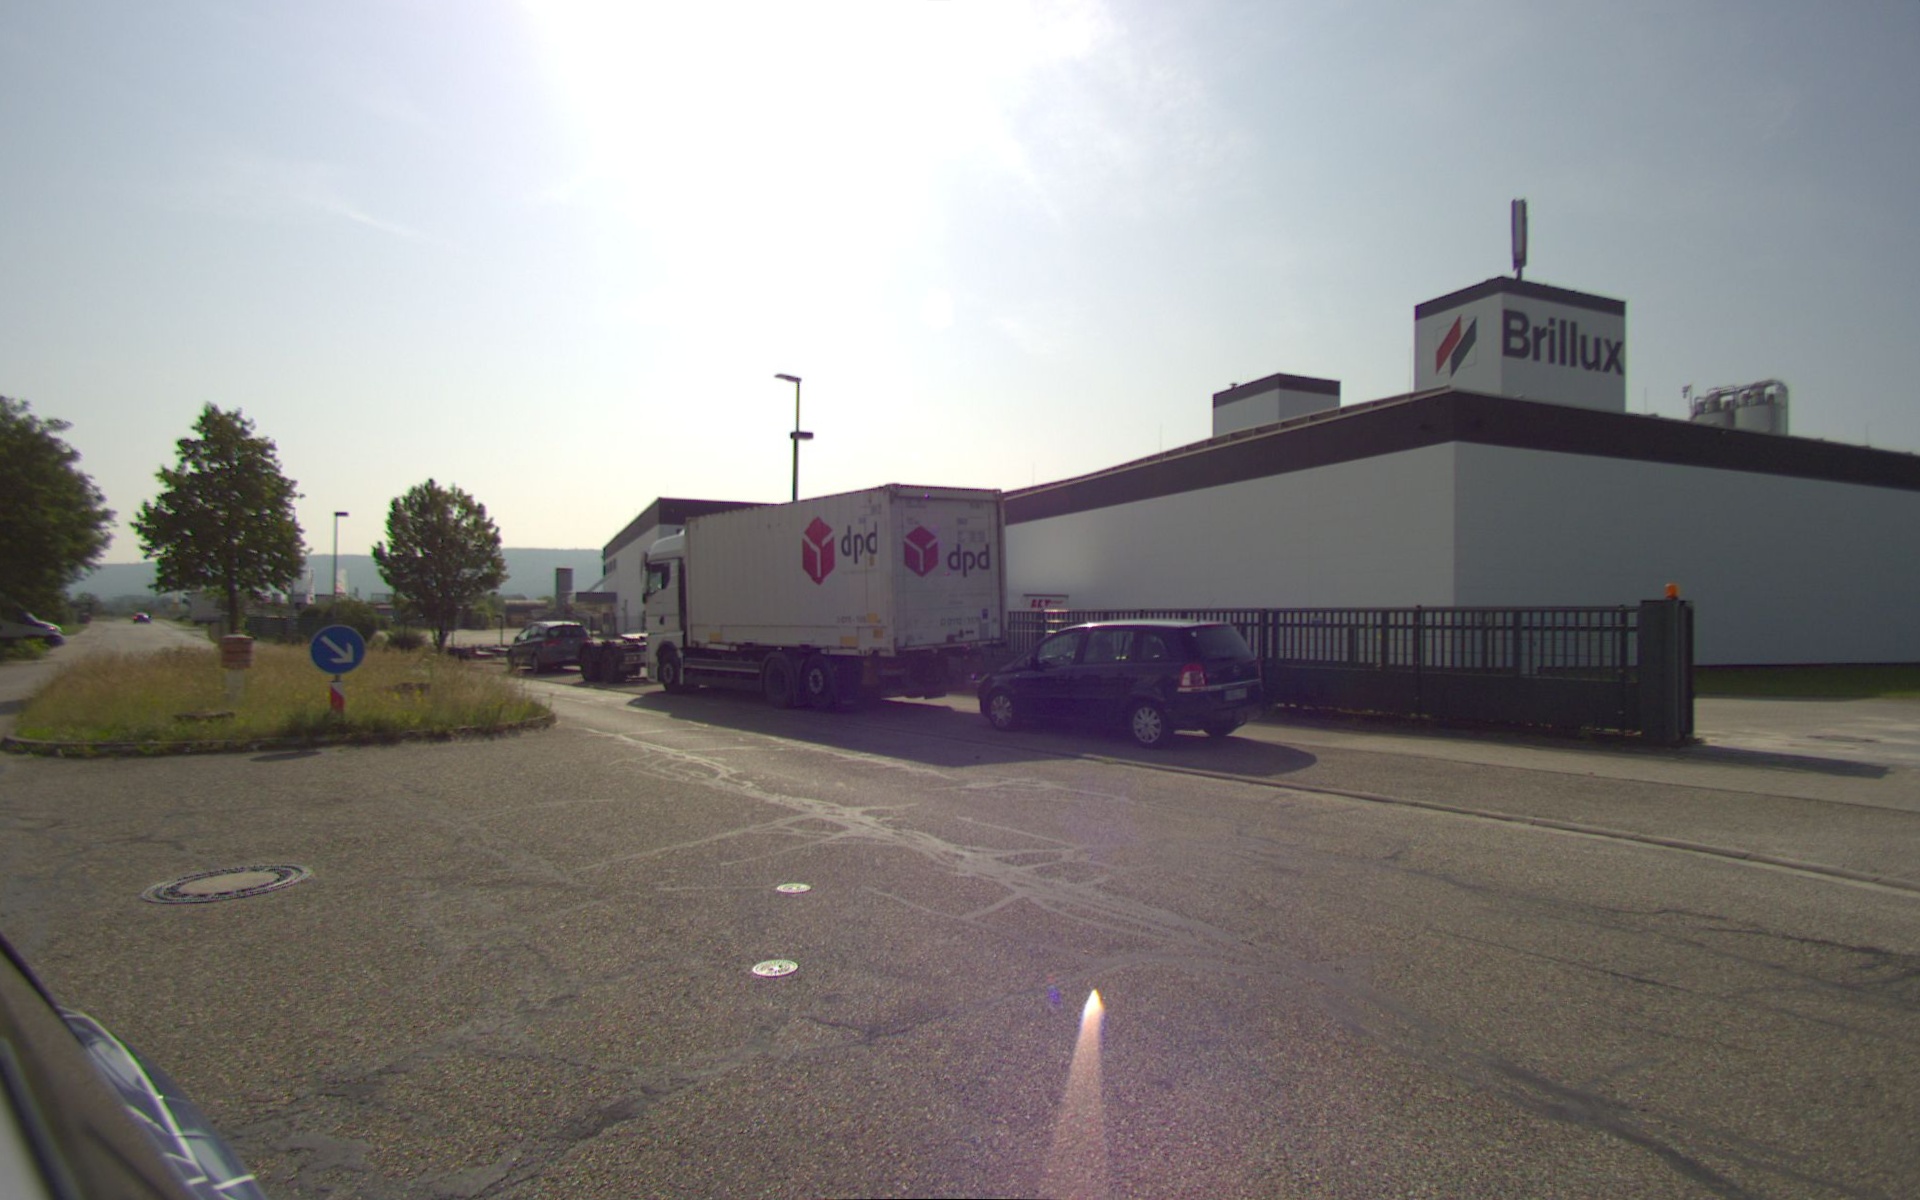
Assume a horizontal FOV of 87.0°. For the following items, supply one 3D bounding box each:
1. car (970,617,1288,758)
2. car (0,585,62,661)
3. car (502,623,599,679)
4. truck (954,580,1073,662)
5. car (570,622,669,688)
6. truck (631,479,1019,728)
[{"bbox_3d":[2.194,1.076,14.096,1.741,1.604,4.199,-1,0,-41],"label":"car"},{"bbox_3d":[-43.293,1.010,42.608,2.665,3.260,8.035,-1,0,44],"label":"car"},{"bbox_3d":[-13.081,1.567,32.208,1.709,1.594,3.973,-1,0,-40],"label":"car"},{"bbox_3d":[2.704,1.143,55.149,2.859,4.087,9.269,1,-1,-22],"label":"truck"},{"bbox_3d":[-9.172,1.420,27.170,1.420,1.619,3.173,-1,0,-40],"label":"car"},{"bbox_3d":[-3.303,0.067,20.584,2.742,3.883,10.079,-2,1,-40],"label":"truck"}]
